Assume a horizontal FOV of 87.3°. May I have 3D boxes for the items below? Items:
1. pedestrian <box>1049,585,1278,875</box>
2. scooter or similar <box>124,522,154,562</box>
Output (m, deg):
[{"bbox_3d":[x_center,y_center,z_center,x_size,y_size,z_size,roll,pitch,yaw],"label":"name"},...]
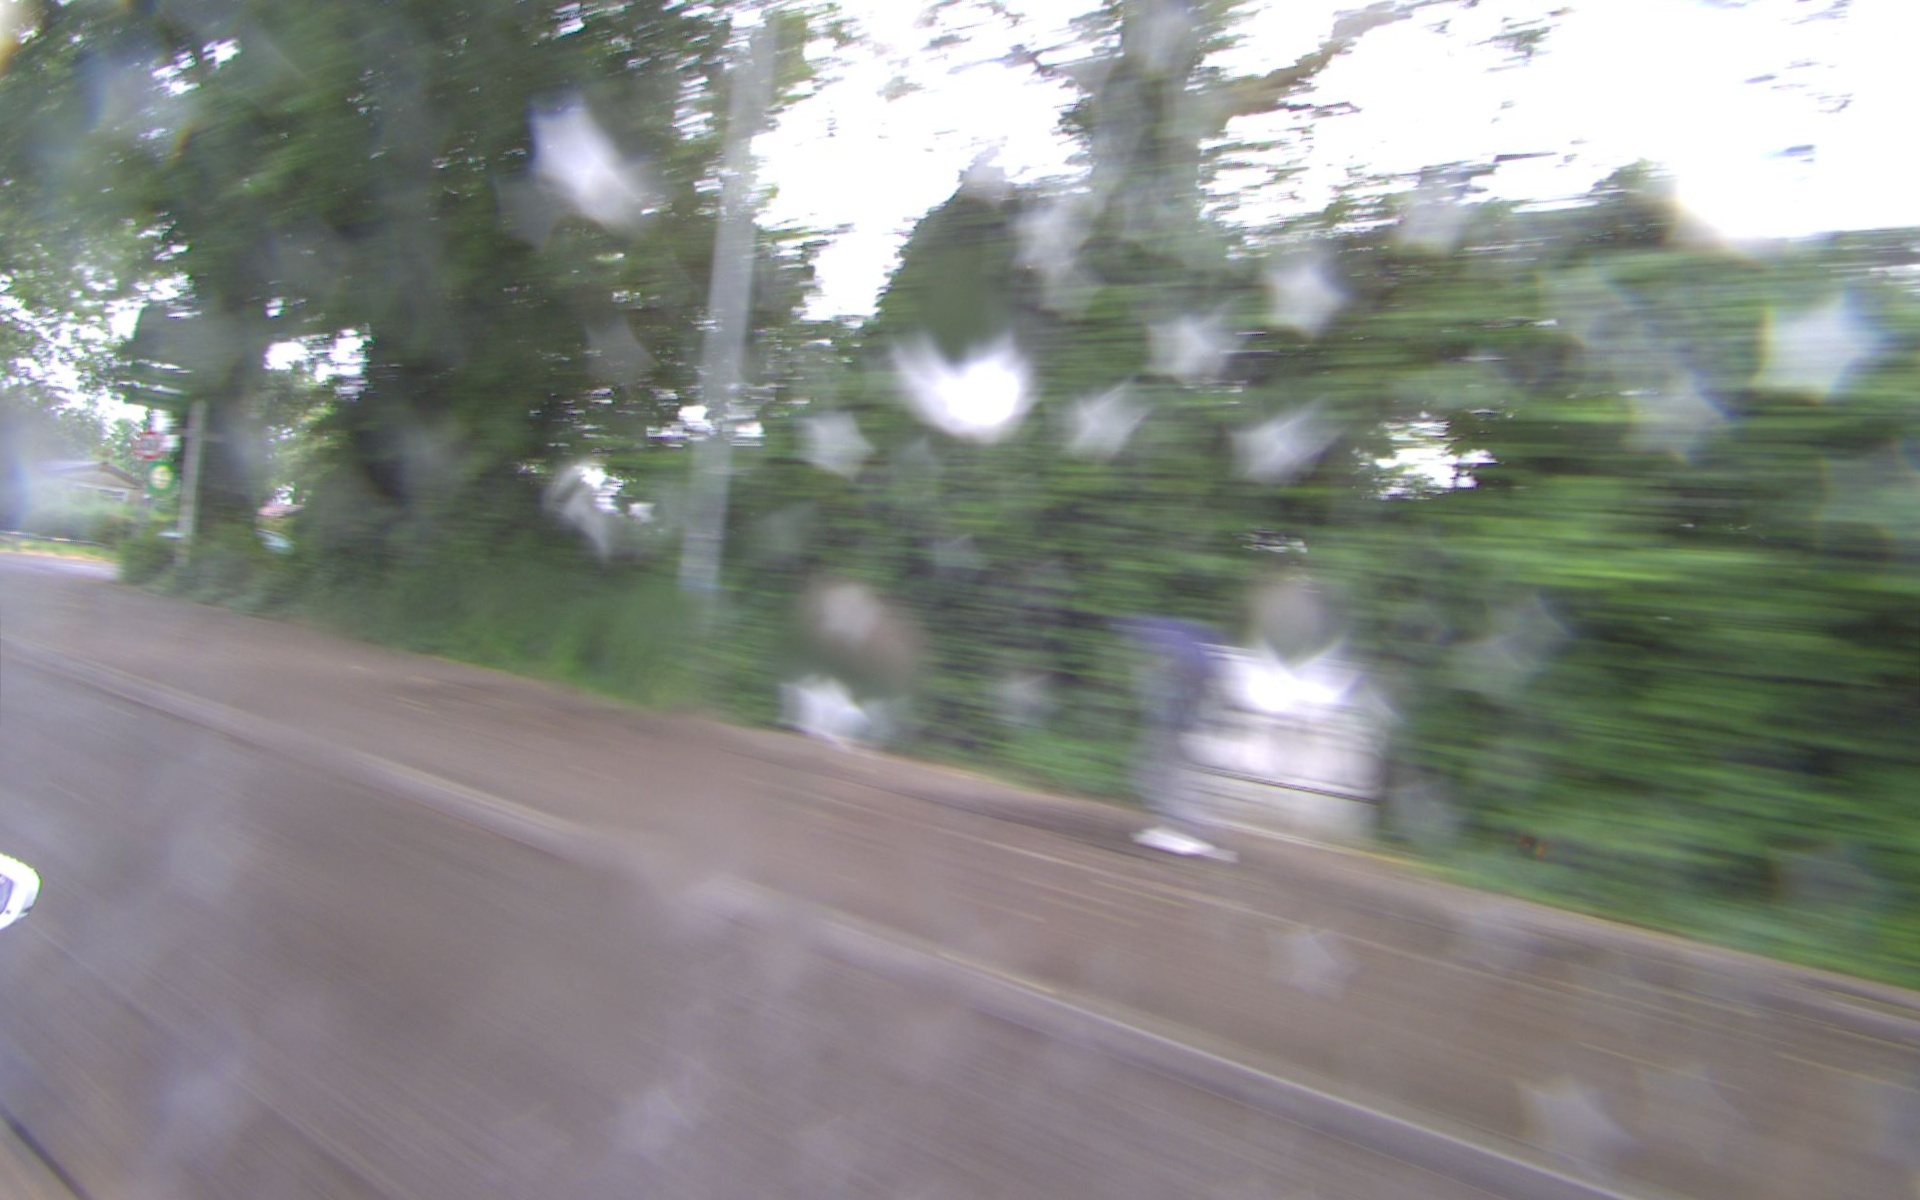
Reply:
[{"bbox_3d":[1.418,0.839,6.962,1.122,1.724,0.968,7,1,31],"label":"pedestrian"},{"bbox_3d":[-25.264,-1.781,30.954,0.458,1.129,1.259,10,-3,-45],"label":"scooter or similar"}]
